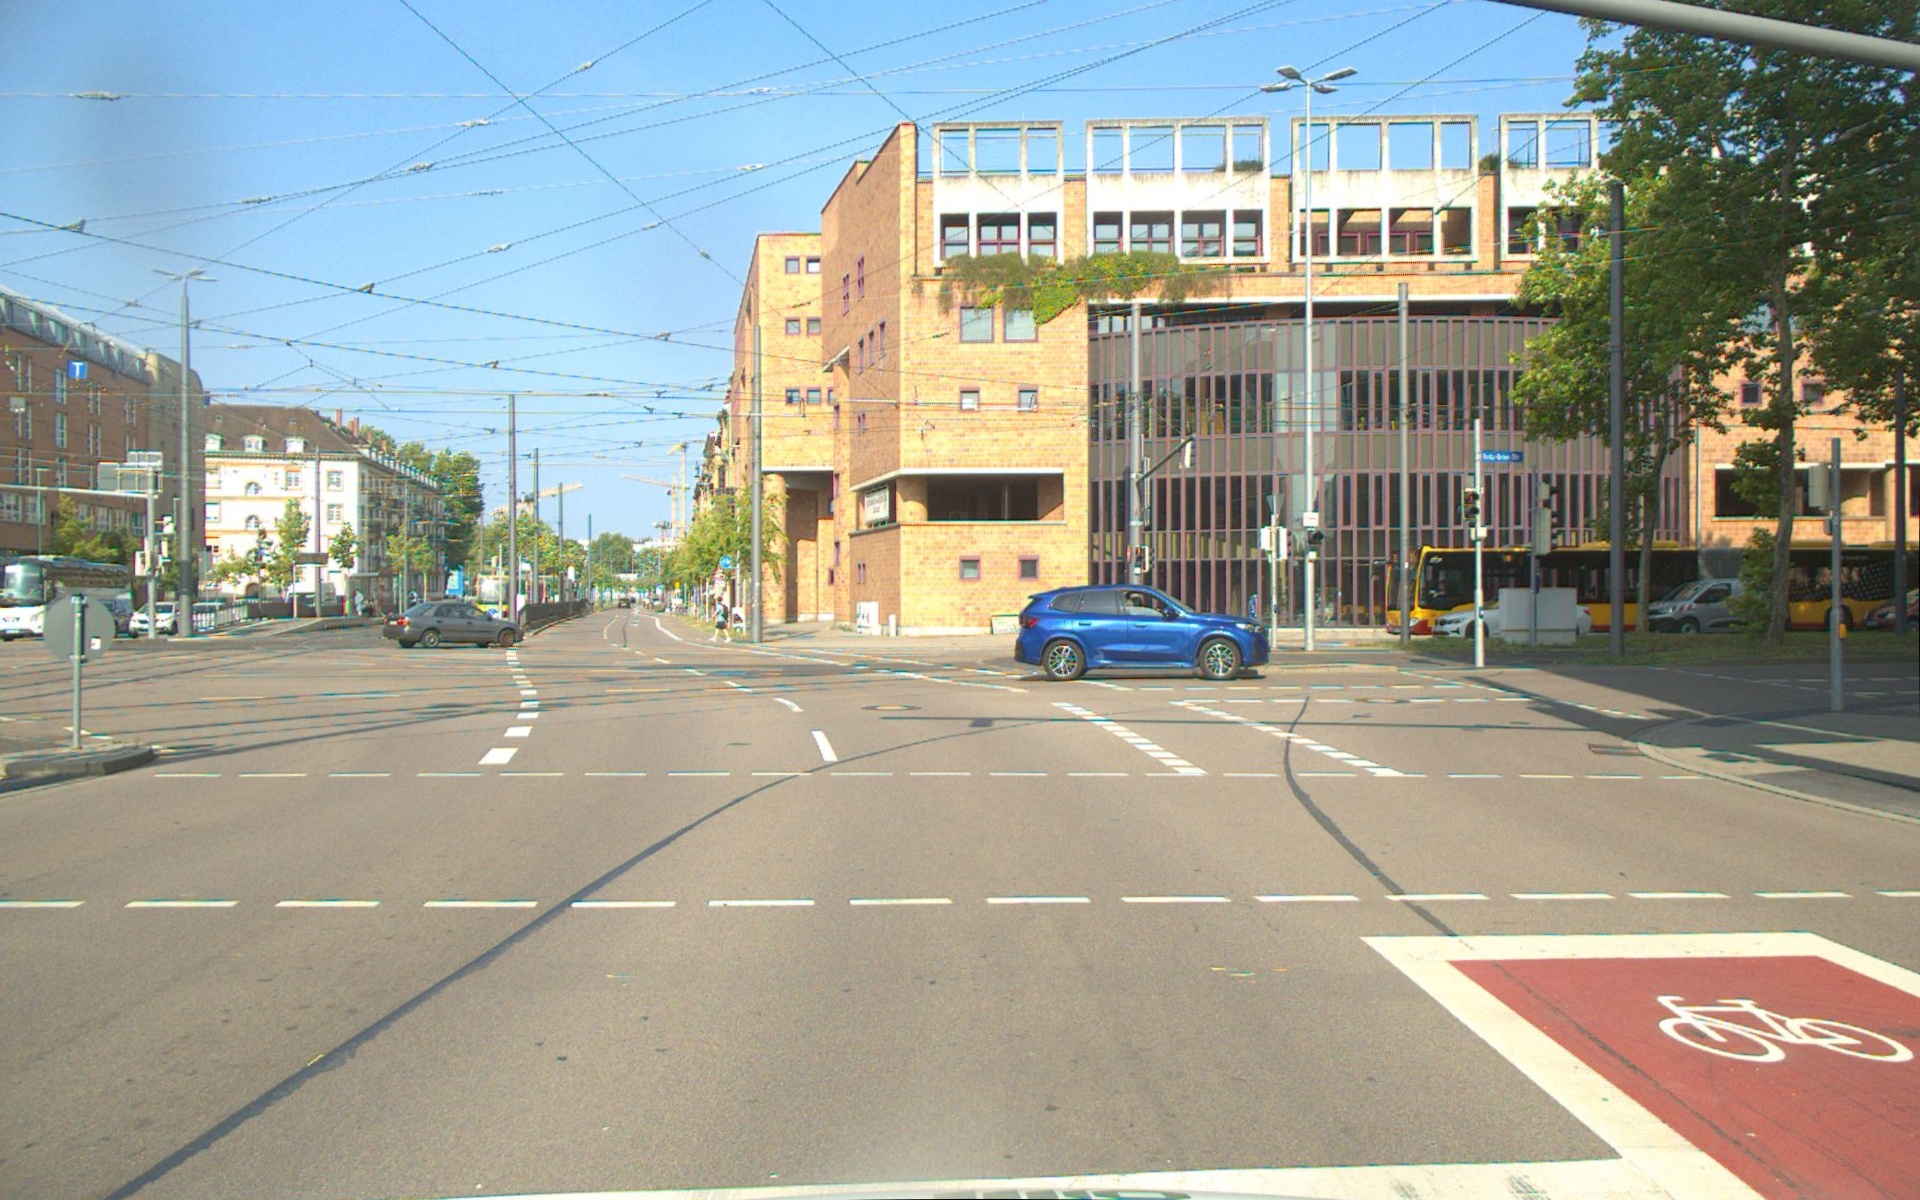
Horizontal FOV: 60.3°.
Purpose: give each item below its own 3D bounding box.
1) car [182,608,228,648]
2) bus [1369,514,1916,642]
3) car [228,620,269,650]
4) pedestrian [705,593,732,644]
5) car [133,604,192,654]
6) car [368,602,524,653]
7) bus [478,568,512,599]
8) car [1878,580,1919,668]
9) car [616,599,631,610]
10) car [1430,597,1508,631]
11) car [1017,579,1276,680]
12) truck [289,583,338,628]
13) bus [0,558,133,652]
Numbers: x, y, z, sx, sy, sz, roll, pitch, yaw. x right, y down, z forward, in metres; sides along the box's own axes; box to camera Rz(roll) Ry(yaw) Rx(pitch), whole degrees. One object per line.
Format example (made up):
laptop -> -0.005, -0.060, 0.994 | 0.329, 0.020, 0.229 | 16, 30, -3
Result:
car -> -35.035, 1.313, 76.786 | 1.186, 1.791, 2.604 | 0, -1, -8
bus -> 21.842, -0.670, 52.947 | 17.286, 3.877, 2.858 | 0, -2, -10
car -> -36.592, 1.785, 85.121 | 1.366, 1.506, 2.735 | 0, -1, -11
pedestrian -> -9.738, 0.755, 66.785 | 0.823, 2.049, 0.811 | 0, 0, 15
car -> -33.981, 1.244, 70.538 | 1.572, 2.049, 2.722 | 0, -1, -10
car -> -15.848, 0.860, 51.106 | 4.188, 1.513, 1.968 | 1, -2, -44
bus -> -31.390, -1.095, 111.712 | 1.959, 2.049, 3.988 | 0, 0, -12
car -> 18.779, 0.431, 29.921 | 3.527, 1.518, 1.698 | 0, 3, -11
car -> -48.940, 0.647, 240.427 | 2.037, 1.569, 4.401 | 0, -1, -12
car -> 14.717, 0.395, 47.870 | 1.912, 0.975, 1.093 | 0, 0, -1
car -> 3.205, 0.527, 28.737 | 4.306, 1.664, 1.993 | -1, -1, 5
truck -> -39.916, 0.361, 102.186 | 1.958, 2.644, 4.726 | 0, -1, -11
bus -> -41.063, 0.354, 75.646 | 2.698, 3.990, 12.179 | 0, -1, -12
